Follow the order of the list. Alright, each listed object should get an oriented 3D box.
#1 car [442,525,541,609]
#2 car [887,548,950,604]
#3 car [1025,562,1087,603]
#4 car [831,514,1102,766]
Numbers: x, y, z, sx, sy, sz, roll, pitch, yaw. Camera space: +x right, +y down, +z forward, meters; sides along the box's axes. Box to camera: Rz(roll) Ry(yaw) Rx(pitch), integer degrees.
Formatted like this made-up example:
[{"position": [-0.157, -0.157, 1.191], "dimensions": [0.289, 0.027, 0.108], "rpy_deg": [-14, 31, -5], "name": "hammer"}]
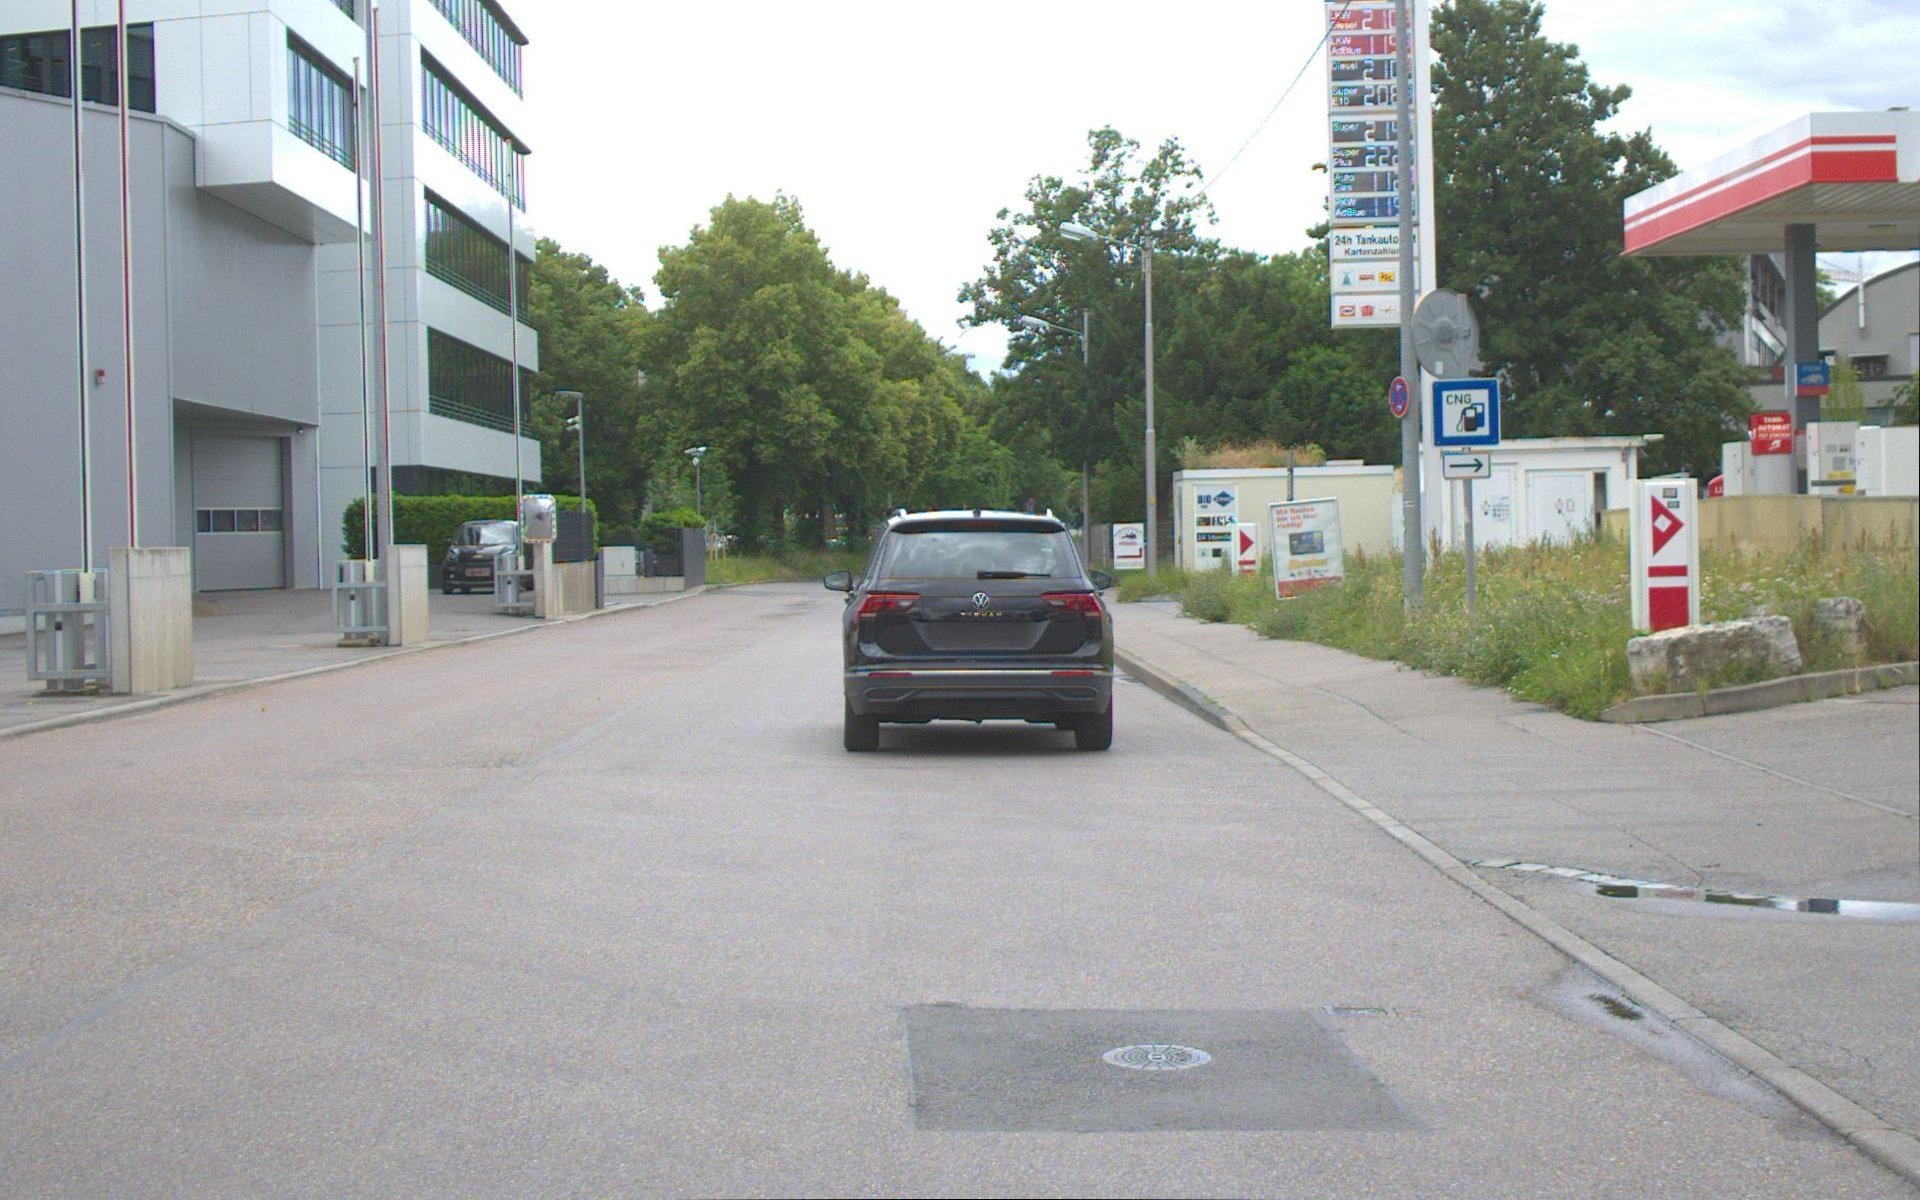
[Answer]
[{"position": [-10.041, -0.719, 73.829], "dimensions": [1.650, 1.756, 3.179], "rpy_deg": [0, 1, 1], "name": "car"}, {"position": [-1.259, -0.731, 104.163], "dimensions": [1.839, 1.611, 4.000], "rpy_deg": [-1, 1, 0], "name": "car"}, {"position": [4.297, -0.802, 153.190], "dimensions": [1.995, 1.780, 3.998], "rpy_deg": [0, 1, 13], "name": "car"}, {"position": [0.096, 0.235, 23.966], "dimensions": [1.739, 1.612, 3.641], "rpy_deg": [0, 1, 2], "name": "car"}]
